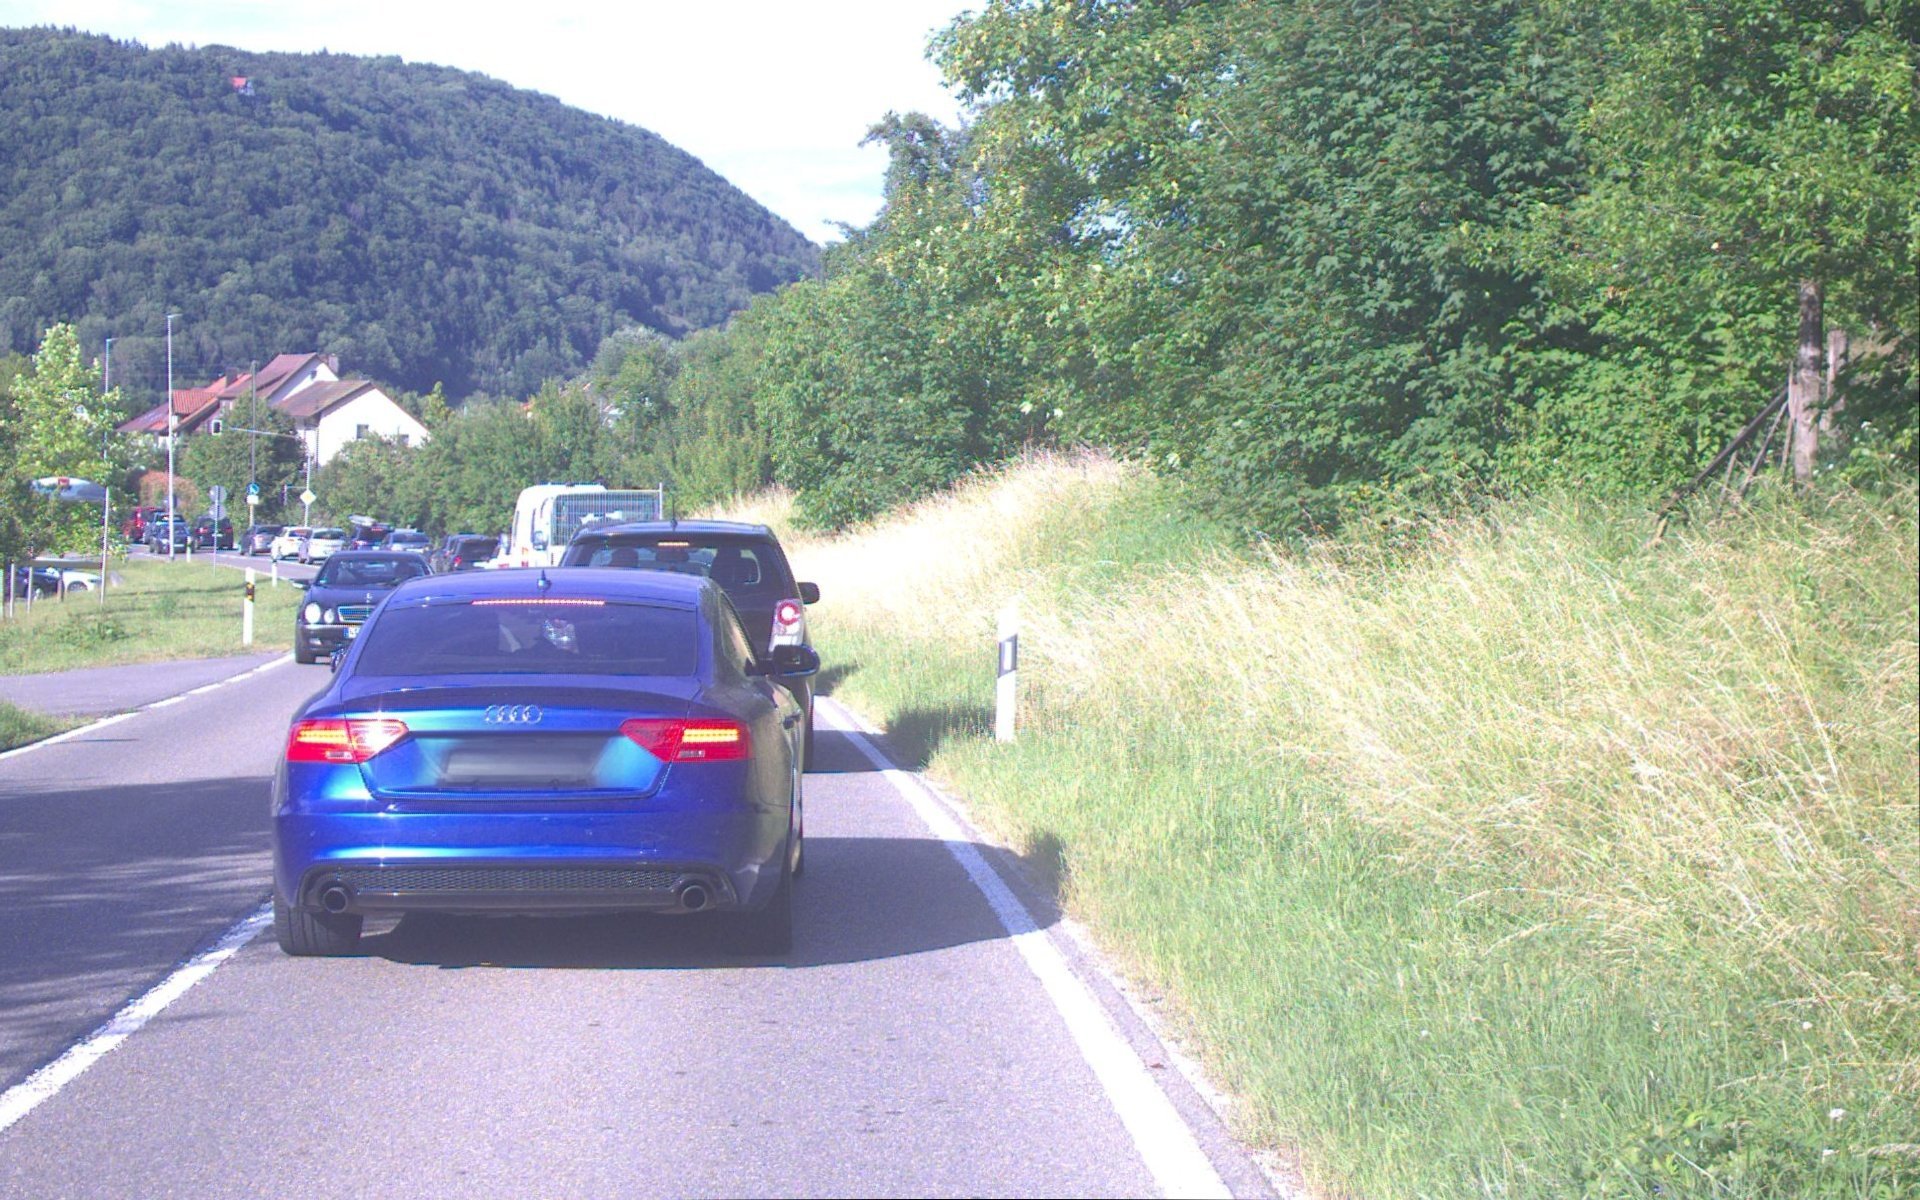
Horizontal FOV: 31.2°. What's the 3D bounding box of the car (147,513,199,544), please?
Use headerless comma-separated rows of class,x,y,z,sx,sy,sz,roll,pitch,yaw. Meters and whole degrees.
car,-37.553,-3.387,164.013,1.703,1.425,4.051,0,1,-23

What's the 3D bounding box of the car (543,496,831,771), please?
car,-1.791,0.185,23.049,1.754,1.675,3.847,0,1,-3

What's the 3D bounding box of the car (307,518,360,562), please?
car,-24.985,-2.391,137.047,1.845,1.706,4.001,0,1,-13

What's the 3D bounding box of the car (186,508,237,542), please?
car,-37.769,-3.767,173.401,1.845,1.706,4.001,0,1,-22

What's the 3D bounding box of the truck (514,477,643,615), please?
truck,-7.574,-1.051,67.767,2.229,2.561,6.709,0,1,-9

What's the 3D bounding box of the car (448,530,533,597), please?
car,-12.383,-0.972,90.565,1.845,1.706,4.001,0,1,-13

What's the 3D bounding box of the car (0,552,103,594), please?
car,-34.484,-1.019,129.709,3.986,1.573,1.753,0,1,-6

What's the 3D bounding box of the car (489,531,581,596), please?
car,-9.985,-0.858,80.647,1.845,1.477,4.001,0,1,-11

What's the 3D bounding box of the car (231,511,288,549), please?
car,-32.441,-3.225,159.185,1.845,1.706,4.001,0,1,-22

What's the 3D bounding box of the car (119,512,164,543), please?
car,-45.876,-4.034,192.569,1.845,1.706,4.001,0,1,-22

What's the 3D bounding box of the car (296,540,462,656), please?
car,-7.096,-0.048,42.292,1.594,1.349,4.204,0,1,-4

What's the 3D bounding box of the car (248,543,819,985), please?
car,-1.465,0.512,13.109,1.754,1.425,3.847,0,1,-1

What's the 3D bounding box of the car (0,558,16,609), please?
car,-33.844,-0.564,115.190,3.986,1.705,2.000,0,1,-6

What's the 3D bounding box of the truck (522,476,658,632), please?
truck,-6.423,-0.800,59.985,2.229,2.561,6.105,0,1,-6

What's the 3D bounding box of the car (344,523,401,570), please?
car,-21.860,-1.988,127.923,1.845,1.706,4.001,0,1,-13

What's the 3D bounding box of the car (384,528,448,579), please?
car,-18.877,-1.613,119.192,1.845,1.706,4.001,0,1,-14

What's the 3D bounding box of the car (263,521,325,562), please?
car,-28.518,-2.512,147.178,1.845,1.706,4.001,0,1,-22
